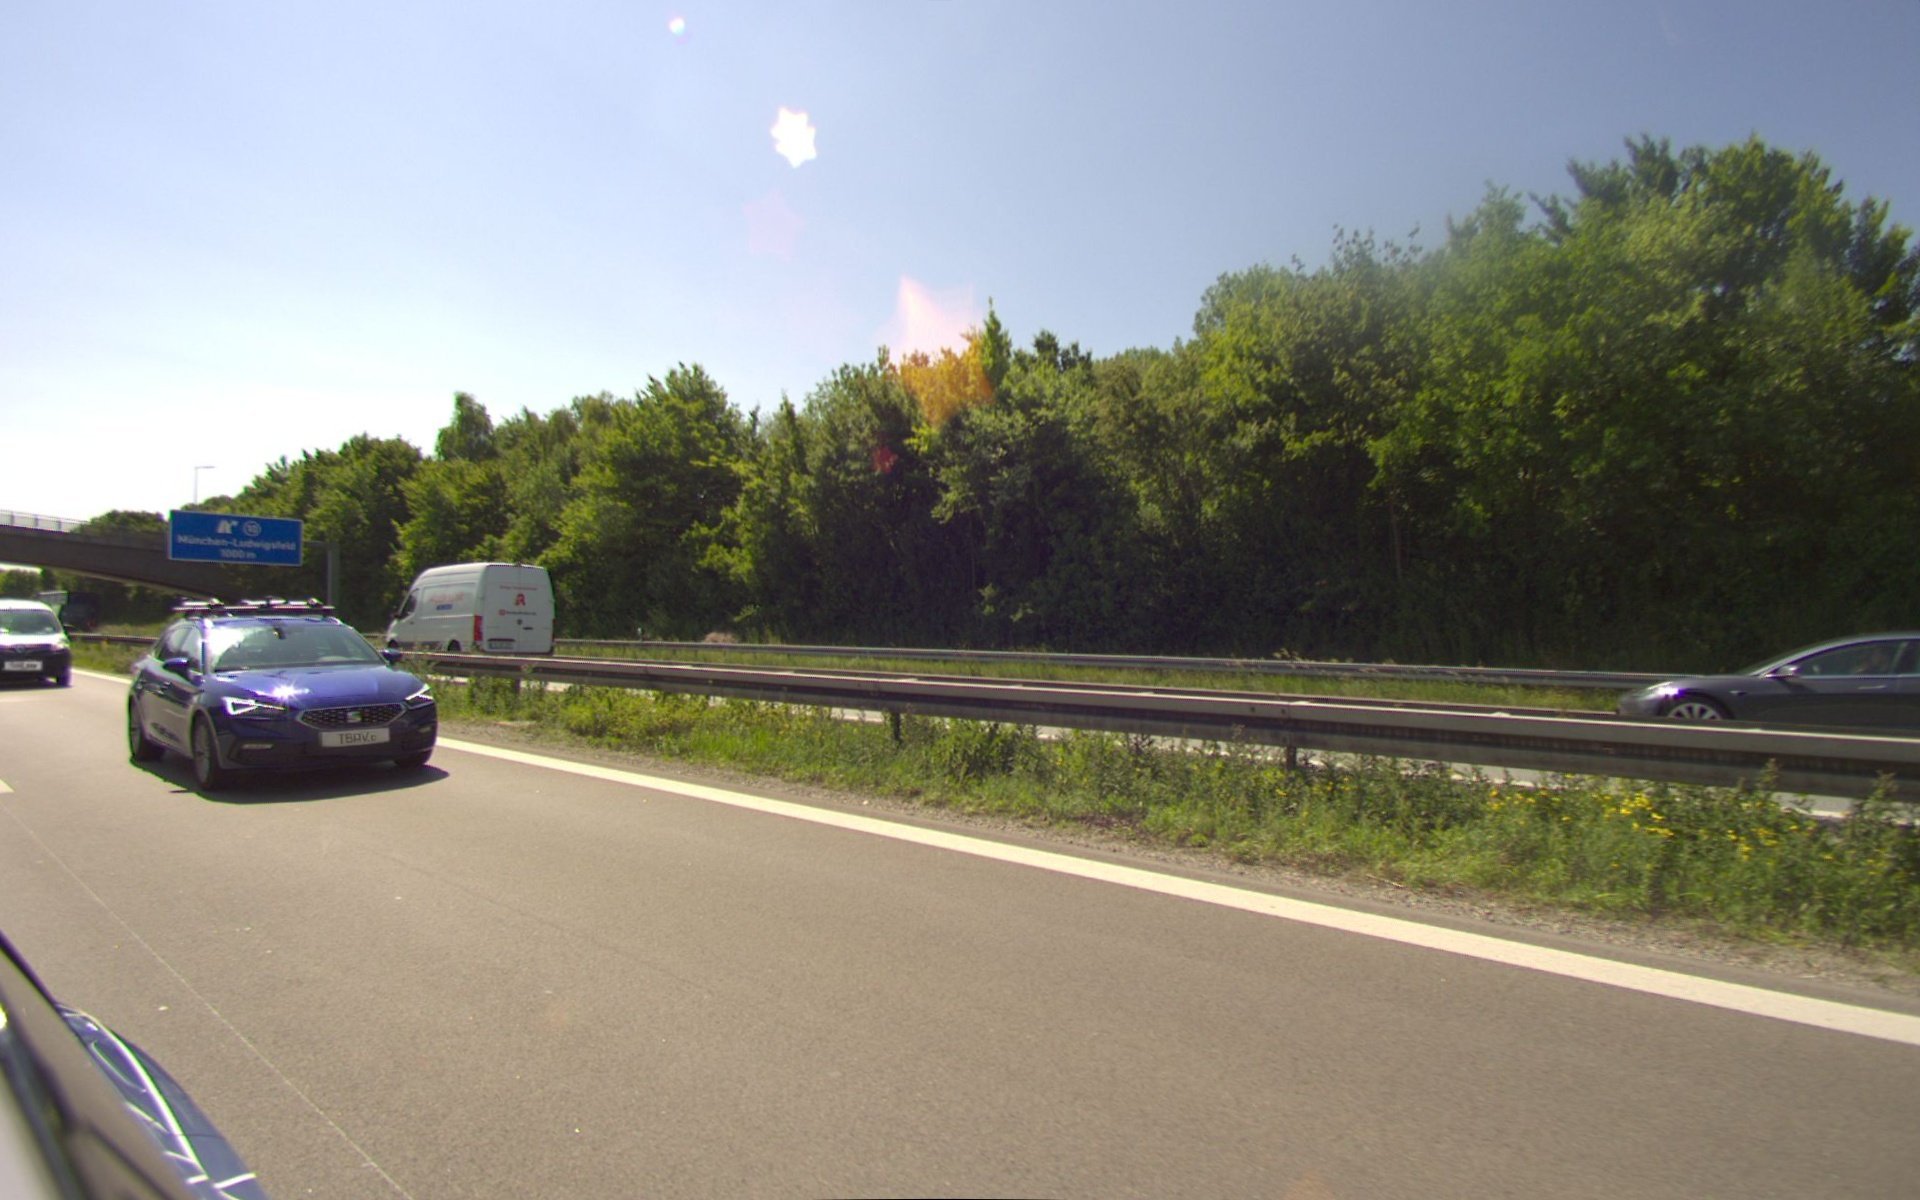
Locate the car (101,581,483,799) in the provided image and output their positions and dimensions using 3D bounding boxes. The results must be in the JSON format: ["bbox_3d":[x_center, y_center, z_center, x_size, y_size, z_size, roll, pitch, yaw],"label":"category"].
[{"bbox_3d":[-6.521,0.715,9.711,4.236,1.638,1.881,-1,-1,39],"label":"car"}]

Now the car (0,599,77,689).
[{"bbox_3d":[-19.997,0.854,21.122,3.979,1.736,1.846,0,-1,41],"label":"car"}]

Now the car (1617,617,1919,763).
[{"bbox_3d":[9.969,0.901,10.677,4.888,1.426,1.887,-1,-2,41],"label":"car"}]

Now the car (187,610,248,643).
[{"bbox_3d":[-39.713,1.382,54.104,4.320,1.642,1.842,0,-1,43],"label":"car"}]

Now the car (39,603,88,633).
[{"bbox_3d":[-70.991,1.418,80.128,6.513,2.252,1.973,0,-1,40],"label":"car"}]

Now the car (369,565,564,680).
[{"bbox_3d":[-12.534,0.561,25.473,6.397,2.575,2.049,-1,-2,41],"label":"car"}]

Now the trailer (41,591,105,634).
[{"bbox_3d":[-89.754,1.327,102.240,13.537,4.071,2.756,-1,-4,40],"label":"trailer"}]
